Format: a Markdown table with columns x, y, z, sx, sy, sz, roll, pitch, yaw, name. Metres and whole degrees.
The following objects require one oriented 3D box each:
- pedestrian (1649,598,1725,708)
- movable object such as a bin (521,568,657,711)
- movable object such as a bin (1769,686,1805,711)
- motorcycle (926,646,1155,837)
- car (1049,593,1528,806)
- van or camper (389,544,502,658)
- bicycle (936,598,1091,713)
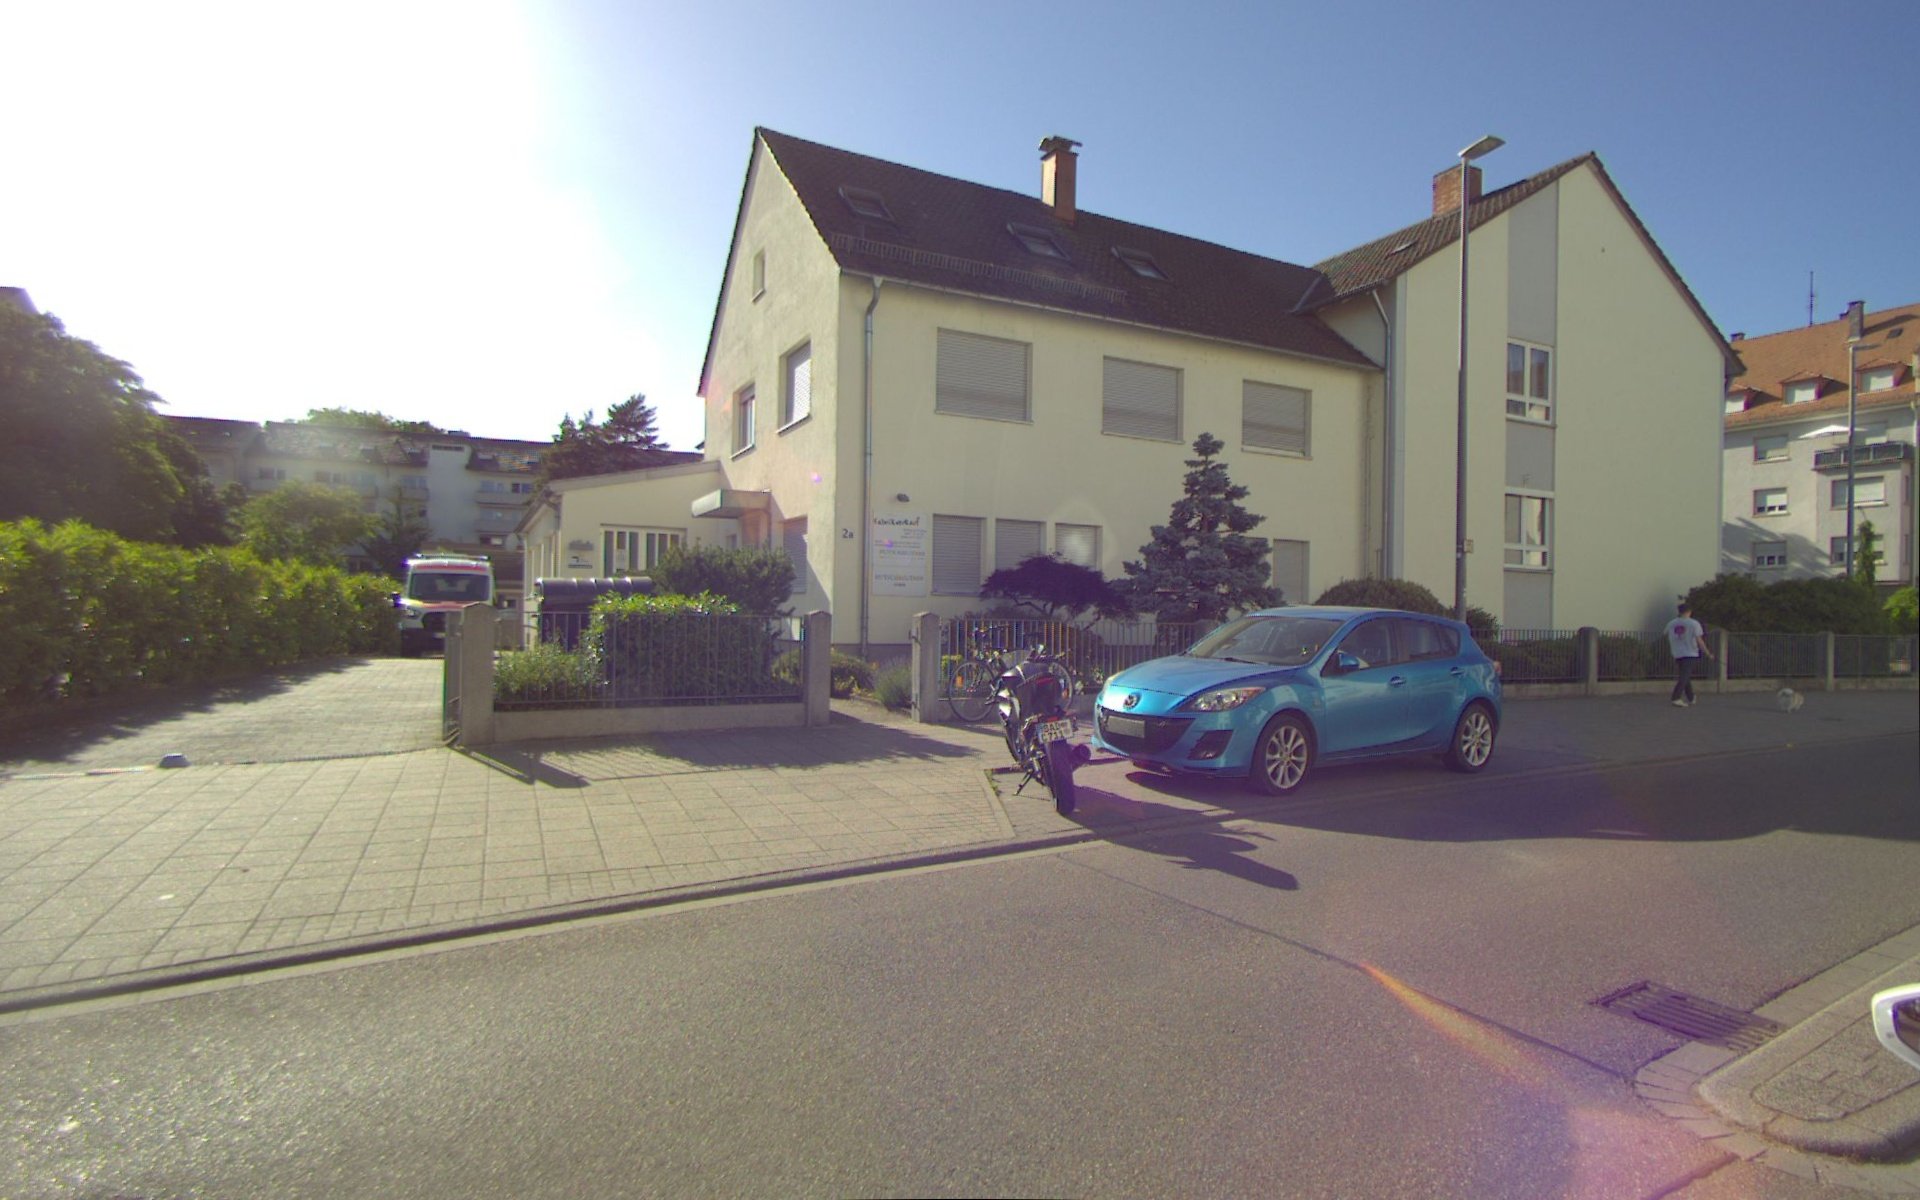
| x | y | z | sx | sy | sz | roll | pitch | yaw | name |
| --- | --- | --- | --- | --- | --- | --- | --- | --- | --- |
| 11.859 | 0.862 | 16.390 | 0.813 | 1.725 | 0.680 | 4 | -2 | -25 | pedestrian |
| -4.295 | 0.460 | 11.593 | 1.213 | 1.509 | 1.276 | 4 | -2 | -29 | movable object such as a bin |
| 13.085 | 1.555 | 15.890 | 0.513 | 0.353 | 0.219 | 1 | 1 | -24 | movable object such as a bin |
| 0.510 | 0.950 | 7.513 | 0.932 | 1.033 | 2.054 | 1 | 3 | -20 | motorcycle |
| 3.054 | 0.747 | 9.065 | 4.283 | 1.493 | 1.787 | 1 | 1 | -33 | car |
| -12.483 | 0.116 | 24.693 | 2.121 | 2.429 | 5.205 | 3 | -3 | -24 | van or camper |
| 0.664 | 0.679 | 11.877 | 1.909 | 1.266 | 0.453 | 4 | -3 | -35 | bicycle |
